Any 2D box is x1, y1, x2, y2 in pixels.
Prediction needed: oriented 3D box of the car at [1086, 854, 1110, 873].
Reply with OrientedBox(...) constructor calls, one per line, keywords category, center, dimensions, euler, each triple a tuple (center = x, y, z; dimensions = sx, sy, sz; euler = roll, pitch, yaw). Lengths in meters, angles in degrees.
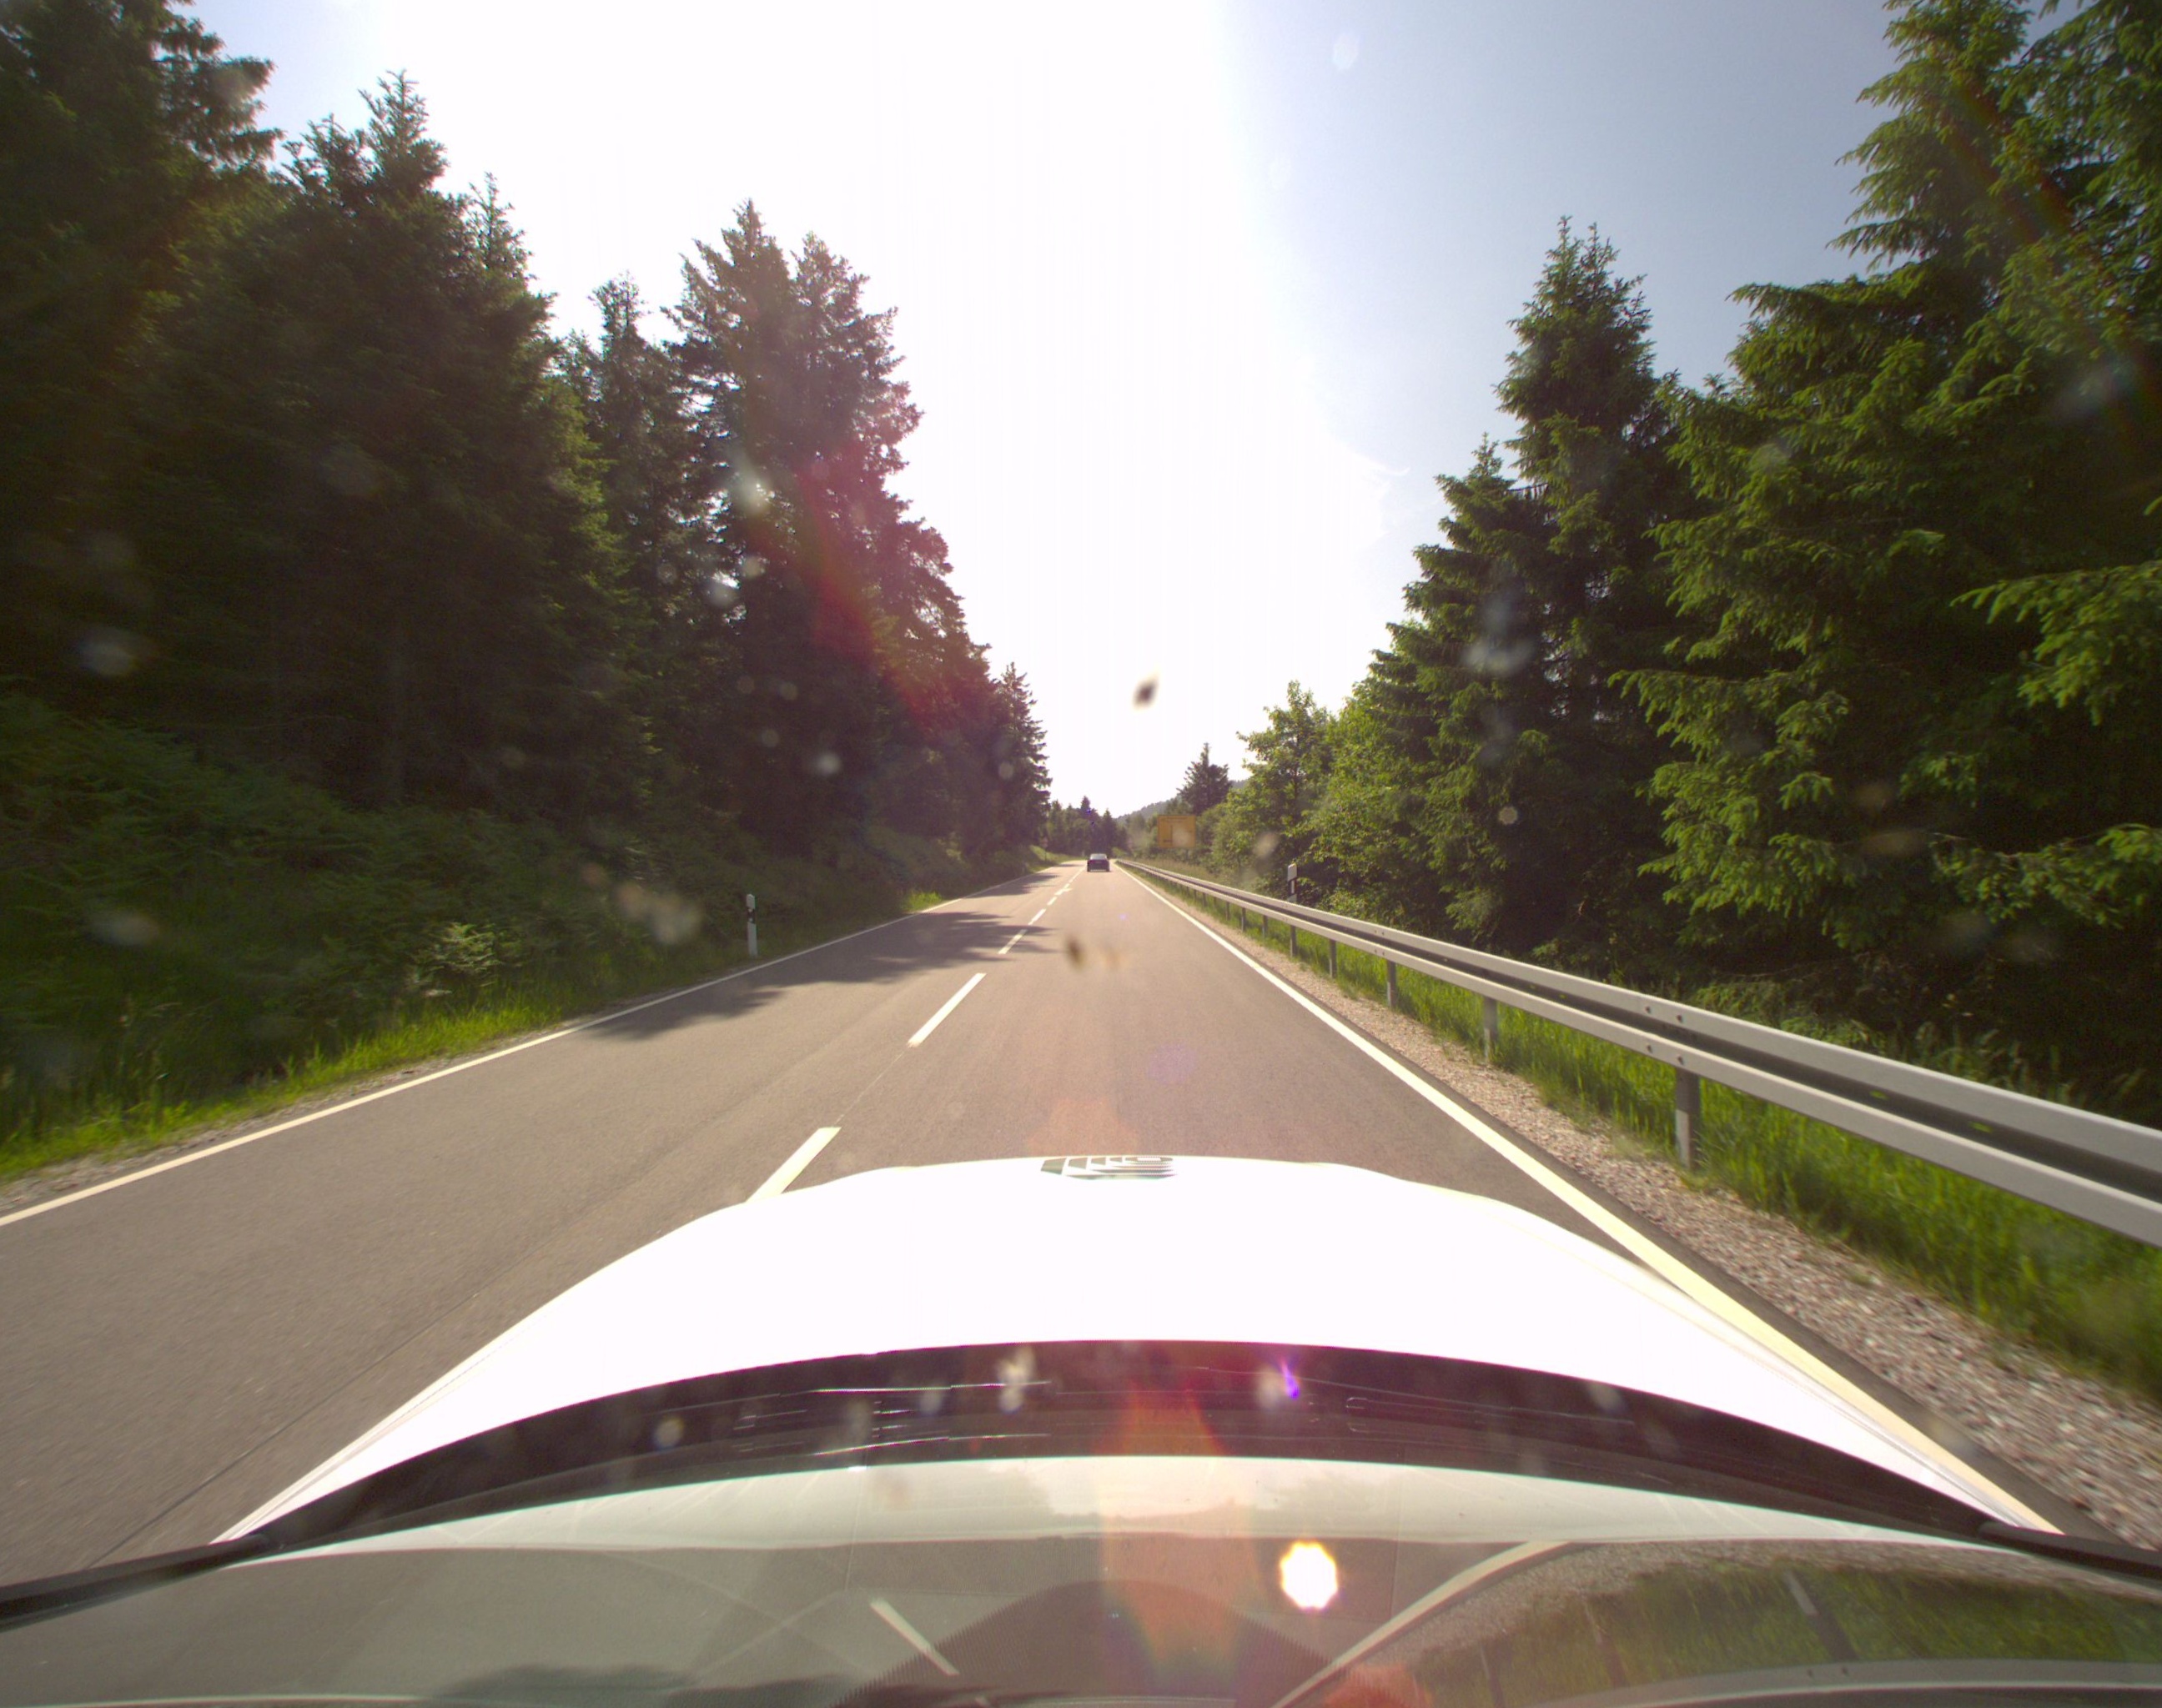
OrientedBox(category="car", center=(1.382, 0.763, 65.534), dimensions=(1.769, 1.442, 3.711), euler=(-2, 0, 2))
